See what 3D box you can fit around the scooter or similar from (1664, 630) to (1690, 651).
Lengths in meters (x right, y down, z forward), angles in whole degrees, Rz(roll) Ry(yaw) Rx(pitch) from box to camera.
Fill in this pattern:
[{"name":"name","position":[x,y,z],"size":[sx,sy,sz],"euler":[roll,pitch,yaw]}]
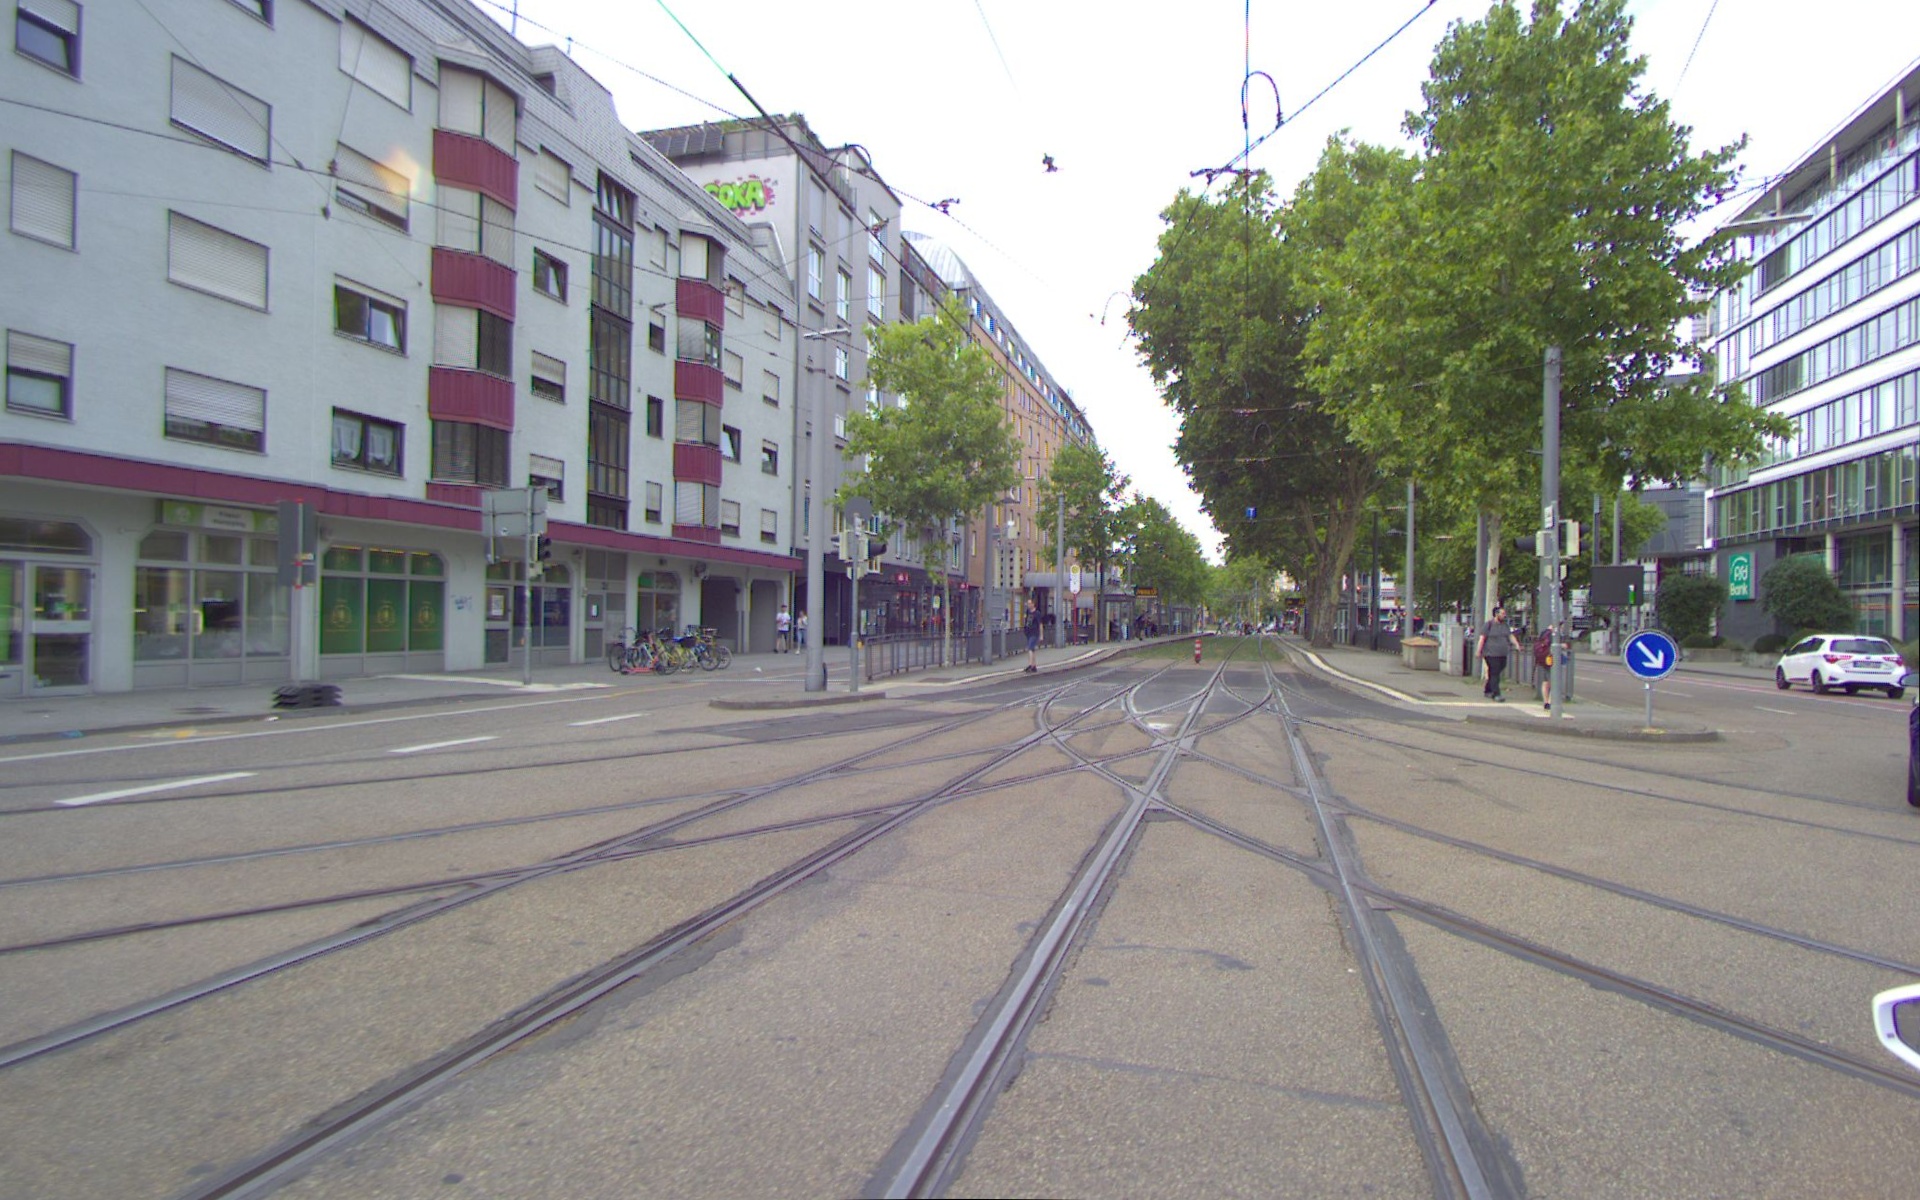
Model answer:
[{"name":"scooter or similar","position":[34.650,1.963,48.549],"size":[0.578,0.963,1.859],"euler":[0,-1,22]}]

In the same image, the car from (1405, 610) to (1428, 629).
[{"name":"car","position":[49.208,2.103,108.429],"size":[1.804,1.928,4.176],"euler":[0,-1,18]}]

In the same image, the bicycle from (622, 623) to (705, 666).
[{"name":"bicycle","position":[-8.076,1.211,27.390],"size":[2.138,1.032,0.628],"euler":[3,0,17]}]

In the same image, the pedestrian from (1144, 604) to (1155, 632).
[{"name":"pedestrian","position":[13.955,1.345,73.994],"size":[0.801,2.019,0.785],"euler":[0,-1,14]}]

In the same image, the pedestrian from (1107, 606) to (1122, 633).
[{"name":"pedestrian","position":[8.997,1.124,58.392],"size":[0.801,1.557,0.786],"euler":[0,-1,14]}]

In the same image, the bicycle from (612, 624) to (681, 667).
[{"name":"bicycle","position":[-8.377,1.208,26.841],"size":[1.696,1.032,0.479],"euler":[3,0,10]}]

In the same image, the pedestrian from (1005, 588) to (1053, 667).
[{"name":"pedestrian","position":[1.739,0.684,25.255],"size":[0.987,1.924,0.802],"euler":[0,0,-17]}]

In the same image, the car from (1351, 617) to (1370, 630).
[{"name":"car","position":[47.736,2.801,119.651],"size":[1.804,1.567,4.215],"euler":[0,-1,18]}]

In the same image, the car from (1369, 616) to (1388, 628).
[{"name":"car","position":[51.863,2.733,124.547],"size":[1.804,1.541,4.176],"euler":[0,-1,18]}]

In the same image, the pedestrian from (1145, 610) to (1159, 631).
[{"name":"pedestrian","position":[15.126,1.632,79.121],"size":[0.977,1.622,0.851],"euler":[0,-1,14]}]

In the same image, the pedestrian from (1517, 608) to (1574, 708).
[{"name":"pedestrian","position":[10.264,0.989,17.647],"size":[0.751,1.693,0.937],"euler":[0,-1,24]}]

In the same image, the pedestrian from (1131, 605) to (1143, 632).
[{"name":"pedestrian","position":[12.481,1.302,70.879],"size":[0.801,1.912,0.786],"euler":[0,-1,14]}]

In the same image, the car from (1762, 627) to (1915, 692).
[{"name":"car","position":[22.563,1.467,26.000],"size":[1.806,1.458,4.184],"euler":[0,-1,24]}]

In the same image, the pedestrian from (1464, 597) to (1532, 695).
[{"name":"pedestrian","position":[10.540,0.892,19.711],"size":[0.826,1.880,0.843],"euler":[0,-1,-14]}]

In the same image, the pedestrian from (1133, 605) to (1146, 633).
[{"name":"pedestrian","position":[12.165,1.280,68.173],"size":[0.801,1.912,0.786],"euler":[0,-1,14]}]

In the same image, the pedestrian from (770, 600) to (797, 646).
[{"name":"pedestrian","position":[-7.041,0.902,40.026],"size":[0.744,1.799,0.897],"euler":[0,0,16]}]

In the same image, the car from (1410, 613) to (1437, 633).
[{"name":"car","position":[44.549,2.210,96.597],"size":[1.859,1.928,4.130],"euler":[0,-1,18]}]

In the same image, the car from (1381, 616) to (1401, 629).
[{"name":"car","position":[50.575,2.624,118.007],"size":[1.804,1.541,4.176],"euler":[0,-1,18]}]

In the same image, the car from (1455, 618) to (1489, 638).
[{"name":"car","position":[44.155,2.374,86.763],"size":[1.848,1.603,4.326],"euler":[1,0,16]}]

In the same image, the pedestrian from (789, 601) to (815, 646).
[{"name":"pedestrian","position":[-6.274,0.928,39.889],"size":[0.744,1.758,0.897],"euler":[0,0,15]}]

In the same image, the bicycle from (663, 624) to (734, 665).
[{"name":"bicycle","position":[-7.516,1.272,28.872],"size":[1.846,1.032,0.628],"euler":[3,0,10]}]

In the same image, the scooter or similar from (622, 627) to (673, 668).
[{"name":"scooter or similar","position":[-8.126,1.240,26.139],"size":[1.153,1.001,0.350],"euler":[3,-1,-7]}]

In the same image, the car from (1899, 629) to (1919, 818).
[{"name":"car","position":[9.626,1.008,8.803],"size":[4.253,1.423,1.858],"euler":[0,0,-44]}]

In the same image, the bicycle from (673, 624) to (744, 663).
[{"name":"bicycle","position":[-7.410,1.262,29.581],"size":[1.846,1.032,0.711],"euler":[3,0,10]}]

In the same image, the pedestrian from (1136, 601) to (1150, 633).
[{"name":"pedestrian","position":[11.218,1.027,61.527],"size":[0.801,1.912,0.786],"euler":[0,-1,14]}]
